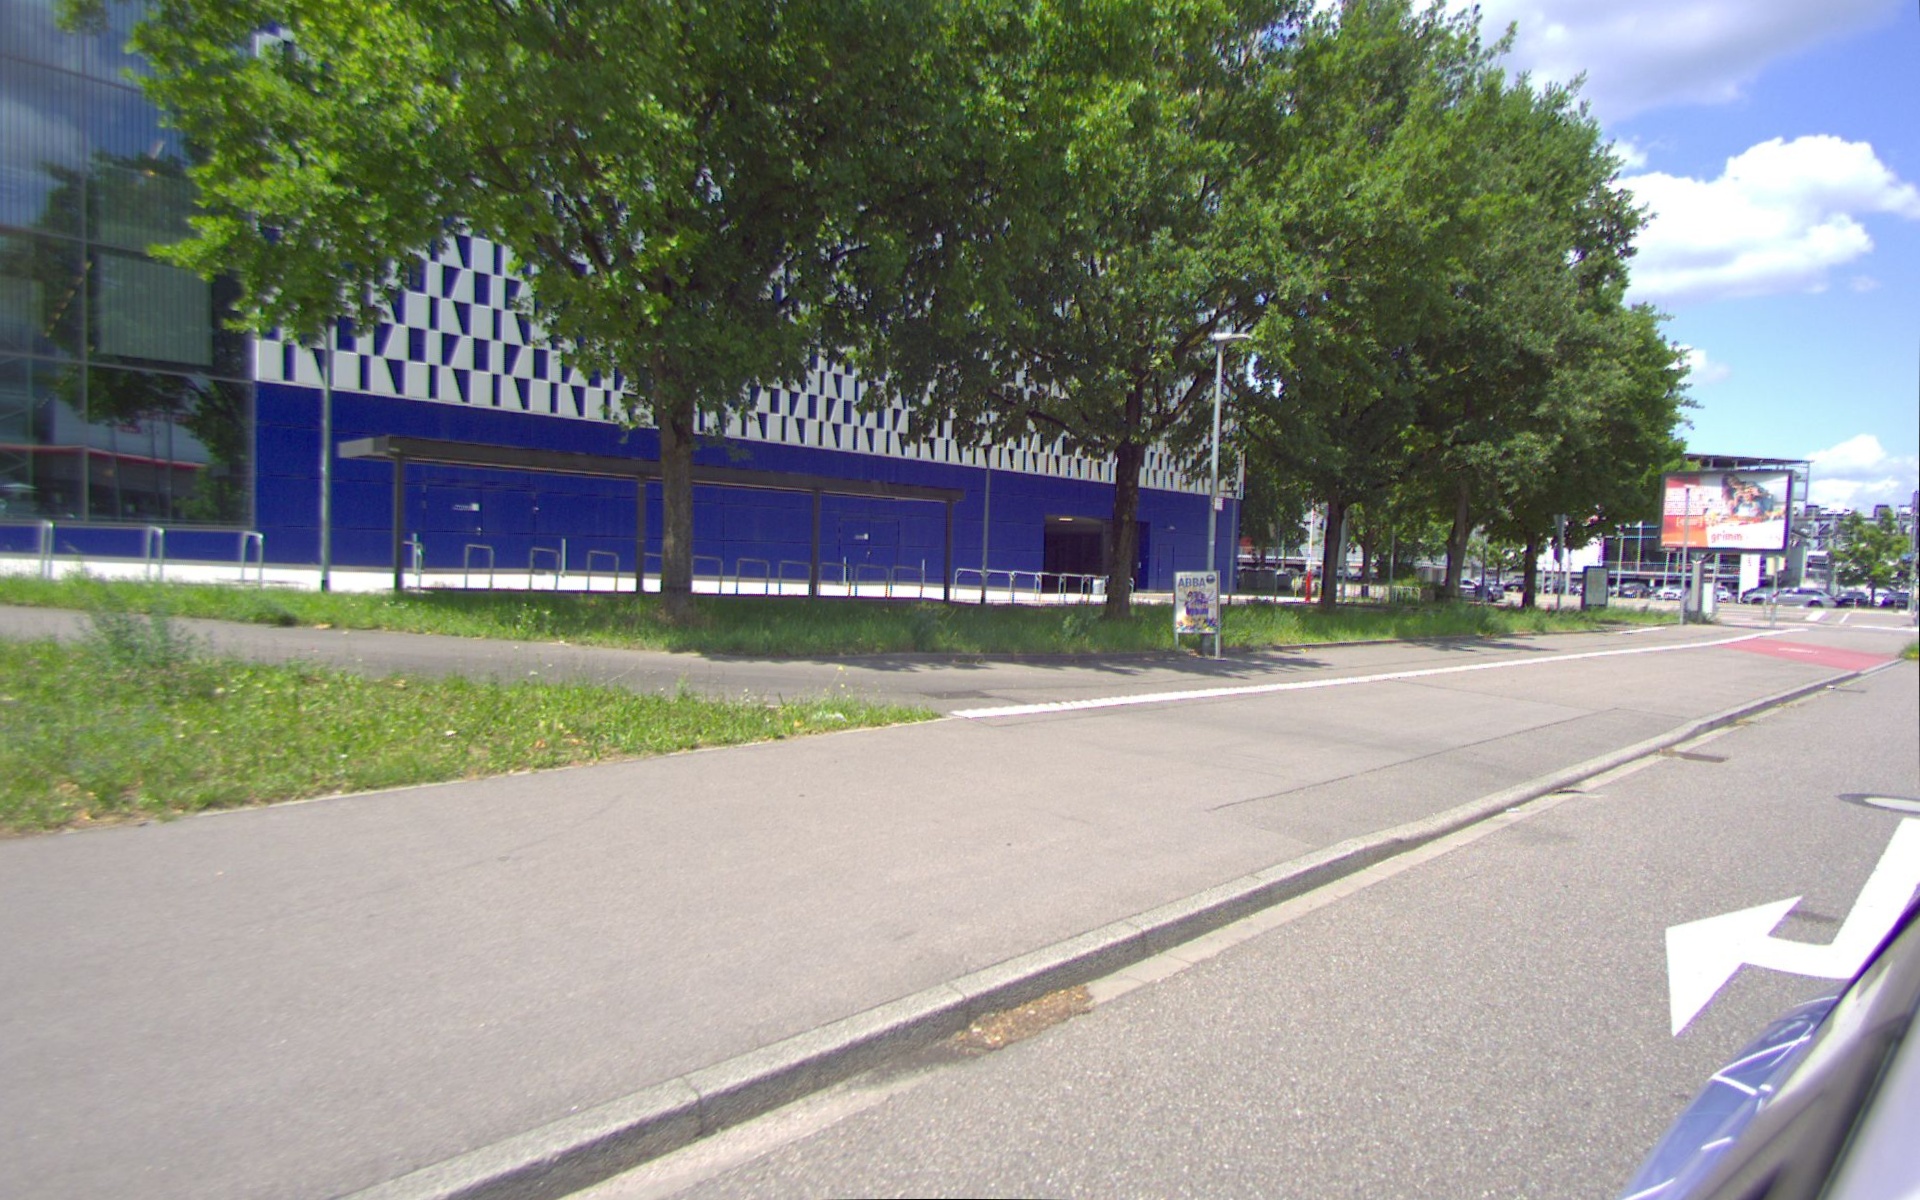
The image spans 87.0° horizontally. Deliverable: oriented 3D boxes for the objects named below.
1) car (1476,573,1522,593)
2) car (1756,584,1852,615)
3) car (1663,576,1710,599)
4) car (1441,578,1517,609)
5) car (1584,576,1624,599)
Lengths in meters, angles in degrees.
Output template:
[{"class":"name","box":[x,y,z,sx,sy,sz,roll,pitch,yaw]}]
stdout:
[{"class":"car","box":[46.885,-1.447,88.078,3.922,1.571,1.799,1,3,-33]},{"class":"car","box":[55.303,-0.051,66.402,4.682,1.651,1.971,5,3,41]},{"class":"car","box":[56.643,-0.965,78.849,3.926,1.593,1.842,1,3,-37]},{"class":"car","box":[33.259,-0.462,64.872,3.984,1.711,1.831,5,3,40]},{"class":"car","box":[52.525,-0.997,82.569,3.697,1.749,1.859,0,3,-44]}]
